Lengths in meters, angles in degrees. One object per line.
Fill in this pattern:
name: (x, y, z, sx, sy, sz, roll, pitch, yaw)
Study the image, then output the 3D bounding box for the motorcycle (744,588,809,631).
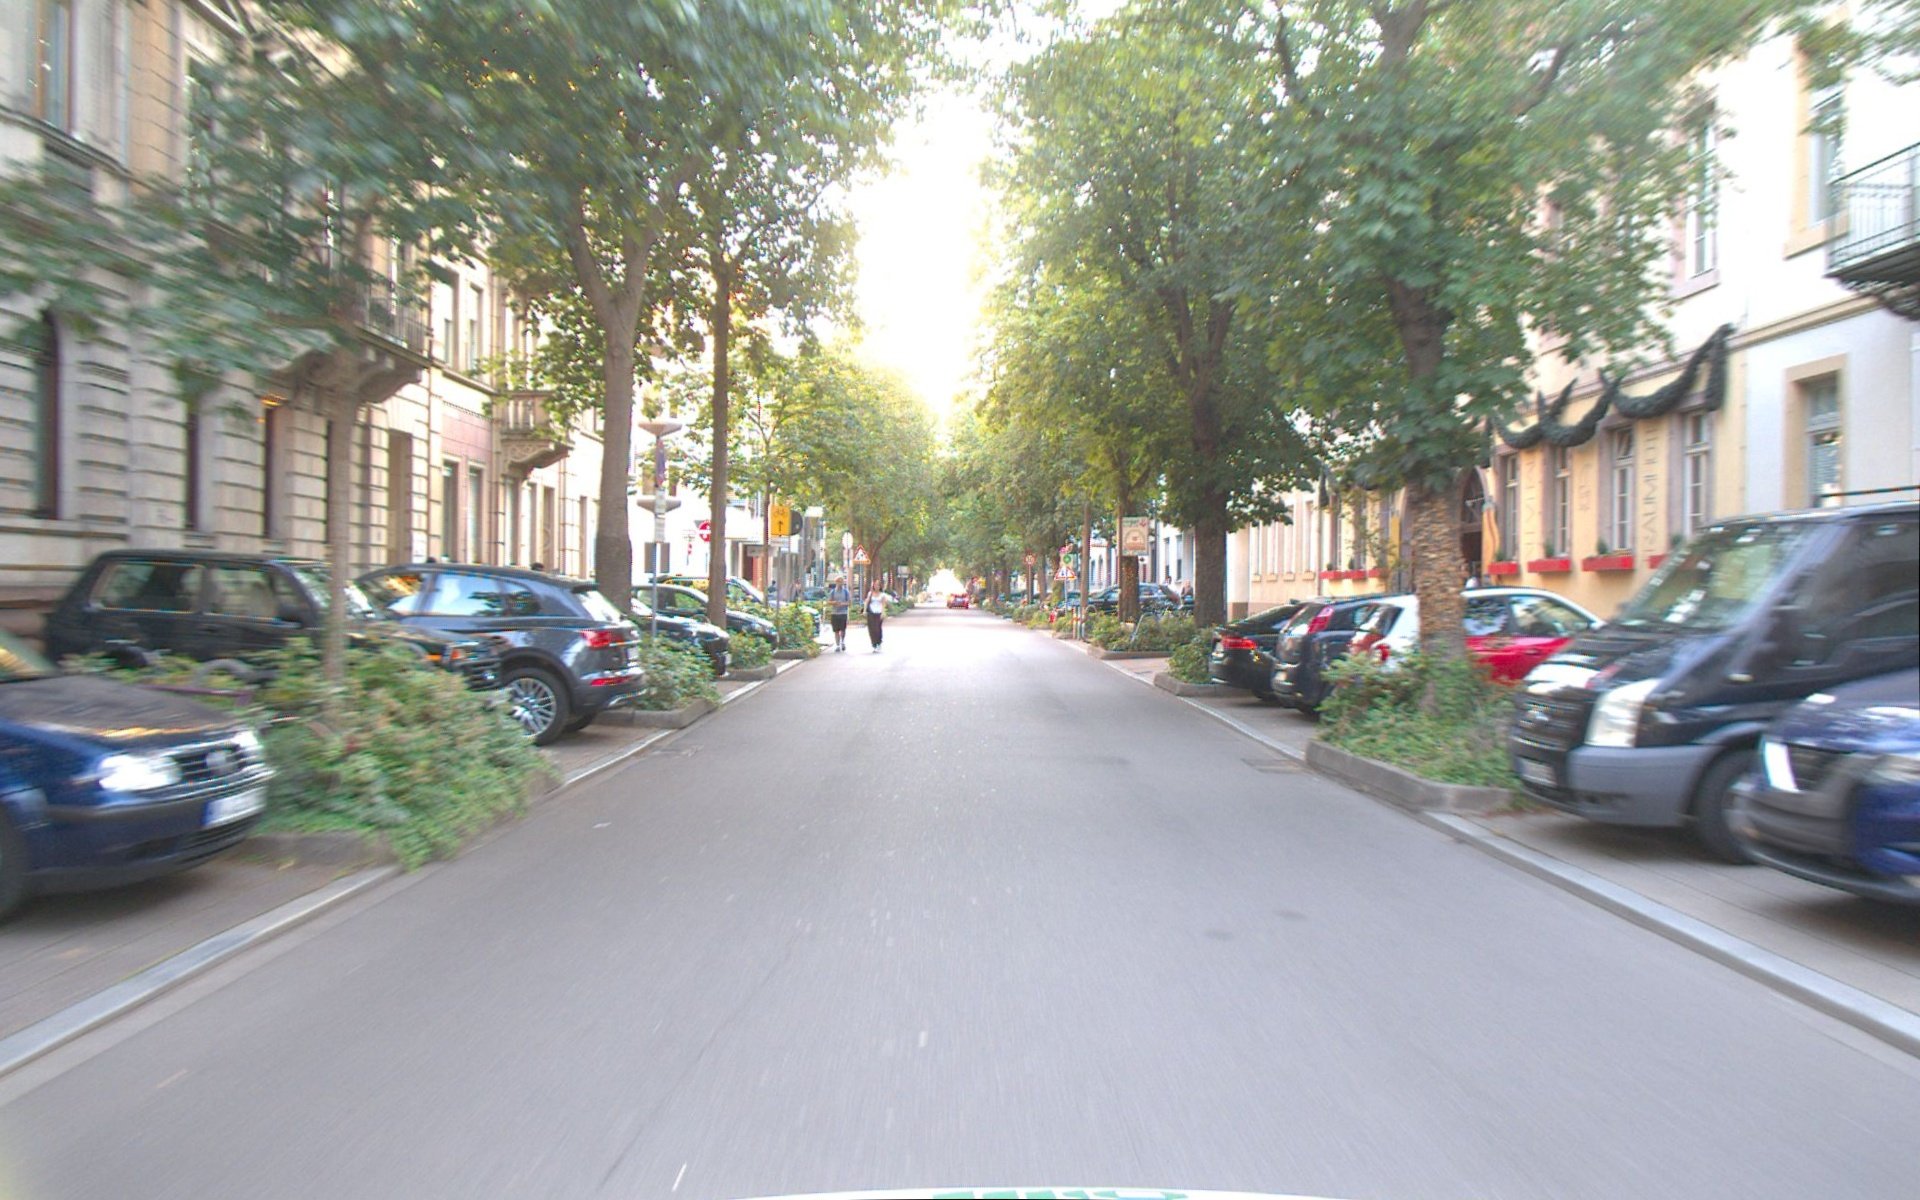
motorcycle: (-6.635, 0.352, 59.713, 2.175, 1.507, 0.855, 1, 1, -19)

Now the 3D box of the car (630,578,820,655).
car: (-5.727, 0.380, 40.715, 4.335, 1.680, 1.873, 2, 1, 0)

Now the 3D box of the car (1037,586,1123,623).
car: (5.038, 0.166, 69.767, 3.414, 1.478, 1.898, -1, 0, -3)

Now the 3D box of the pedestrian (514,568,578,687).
pedestrian: (-6.307, 0.411, 25.226, 0.719, 1.769, 0.671, 1, 0, 6)

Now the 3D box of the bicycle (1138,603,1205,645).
bicycle: (5.880, 0.667, 45.973, 1.760, 1.127, 0.499, -1, 0, -6)

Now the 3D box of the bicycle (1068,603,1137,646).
bicycle: (3.990, 0.683, 46.334, 1.804, 1.155, 0.743, -1, 0, -11)

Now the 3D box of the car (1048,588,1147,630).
car: (5.061, 0.330, 61.249, 3.414, 1.478, 1.898, -1, 0, -3)

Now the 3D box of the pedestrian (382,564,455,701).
pedestrian: (-7.170, 0.418, 21.915, 0.655, 1.769, 0.737, 1, 0, 2)

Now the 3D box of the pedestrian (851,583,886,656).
pedestrian: (-2.174, 0.457, 39.422, 0.778, 1.700, 0.831, 0, 0, -1)

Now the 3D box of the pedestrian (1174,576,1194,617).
pedestrian: (8.675, -0.125, 63.989, 0.641, 1.563, 0.831, 0, 0, 0)

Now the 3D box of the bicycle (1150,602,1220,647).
bicycle: (6.065, 0.655, 44.606, 1.761, 1.163, 0.650, -1, 0, -10)

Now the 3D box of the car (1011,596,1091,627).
car: (4.531, 0.581, 82.667, 3.800, 1.465, 1.846, -1, 0, -4)

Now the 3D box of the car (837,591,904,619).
car: (-6.322, 0.377, 117.337, 4.587, 1.886, 1.962, -1, 0, -1)

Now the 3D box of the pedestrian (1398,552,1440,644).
pedestrian: (8.963, -0.049, 32.336, 0.602, 1.769, 0.623, -2, 1, -1)

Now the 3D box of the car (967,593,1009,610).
car: (2.809, 0.145, 167.994, 4.181, 1.593, 1.962, -1, 0, -1)

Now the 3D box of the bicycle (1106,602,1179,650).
bicycle: (4.719, 0.671, 42.857, 1.793, 1.199, 0.673, -1, 0, -2)

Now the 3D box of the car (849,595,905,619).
car: (-6.286, 0.517, 125.060, 4.117, 1.664, 1.962, -1, 0, -1)

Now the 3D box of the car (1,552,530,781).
car: (-5.761, 0.525, 14.072, 3.724, 1.701, 1.714, 2, 1, -2)

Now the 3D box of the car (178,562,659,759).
car: (-5.257, 0.558, 16.495, 4.115, 1.701, 1.907, 2, 1, -1)

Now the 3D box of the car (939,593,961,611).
car: (-0.928, 0.200, 153.286, 1.916, 1.593, 4.282, -1, 0, 0)

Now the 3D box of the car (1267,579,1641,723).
car: (5.925, 0.585, 20.158, 3.907, 1.462, 1.926, -3, 0, -2)

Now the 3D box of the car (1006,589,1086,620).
car: (5.002, 0.248, 96.600, 4.620, 1.740, 1.950, 1, 1, 1)

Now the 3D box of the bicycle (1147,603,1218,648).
bicycle: (5.888, 0.663, 43.785, 1.760, 1.148, 0.663, -1, 0, -7)

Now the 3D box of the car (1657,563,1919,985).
car: (5.642, 0.580, 7.497, 4.072, 1.606, 1.969, -3, 0, -2)

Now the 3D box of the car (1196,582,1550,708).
car: (5.571, 0.582, 22.675, 4.313, 1.418, 1.884, -3, 0, -3)

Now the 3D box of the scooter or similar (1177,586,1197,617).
scooter or similar: (8.677, 0.073, 63.328, 0.641, 1.173, 0.831, 0, 0, 0)

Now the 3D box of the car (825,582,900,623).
car: (-6.158, 0.154, 104.901, 4.587, 2.521, 2.000, 1, 0, -1)

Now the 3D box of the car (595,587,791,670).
car: (-5.329, 0.555, 33.311, 3.617, 1.483, 1.872, 2, 1, -1)

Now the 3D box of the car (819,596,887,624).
car: (-6.240, 0.577, 96.585, 3.791, 1.512, 1.757, 1, 0, 1)

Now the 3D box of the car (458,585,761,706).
car: (-4.874, 0.621, 23.436, 3.865, 1.559, 1.907, 1, 0, -1)

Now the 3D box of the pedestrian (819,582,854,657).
pedestrian: (-2.944, 0.449, 39.560, 0.778, 1.767, 0.831, 0, 0, -1)

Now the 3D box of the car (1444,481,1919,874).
car: (5.602, 0.347, 10.128, 4.595, 2.046, 2.037, -3, 0, -2)

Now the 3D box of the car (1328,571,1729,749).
car: (5.933, 0.604, 17.556, 3.605, 1.606, 1.714, -3, 0, 0)

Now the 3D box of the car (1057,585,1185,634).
car: (5.610, 0.329, 58.069, 4.334, 1.685, 1.900, 0, 0, 1)

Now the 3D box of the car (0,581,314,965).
car: (-5.243, 0.602, 7.456, 3.884, 1.411, 1.765, 4, 1, 0)

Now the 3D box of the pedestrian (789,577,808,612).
pedestrian: (-8.441, -0.277, 86.443, 0.689, 1.788, 0.739, 0, -1, 23)
